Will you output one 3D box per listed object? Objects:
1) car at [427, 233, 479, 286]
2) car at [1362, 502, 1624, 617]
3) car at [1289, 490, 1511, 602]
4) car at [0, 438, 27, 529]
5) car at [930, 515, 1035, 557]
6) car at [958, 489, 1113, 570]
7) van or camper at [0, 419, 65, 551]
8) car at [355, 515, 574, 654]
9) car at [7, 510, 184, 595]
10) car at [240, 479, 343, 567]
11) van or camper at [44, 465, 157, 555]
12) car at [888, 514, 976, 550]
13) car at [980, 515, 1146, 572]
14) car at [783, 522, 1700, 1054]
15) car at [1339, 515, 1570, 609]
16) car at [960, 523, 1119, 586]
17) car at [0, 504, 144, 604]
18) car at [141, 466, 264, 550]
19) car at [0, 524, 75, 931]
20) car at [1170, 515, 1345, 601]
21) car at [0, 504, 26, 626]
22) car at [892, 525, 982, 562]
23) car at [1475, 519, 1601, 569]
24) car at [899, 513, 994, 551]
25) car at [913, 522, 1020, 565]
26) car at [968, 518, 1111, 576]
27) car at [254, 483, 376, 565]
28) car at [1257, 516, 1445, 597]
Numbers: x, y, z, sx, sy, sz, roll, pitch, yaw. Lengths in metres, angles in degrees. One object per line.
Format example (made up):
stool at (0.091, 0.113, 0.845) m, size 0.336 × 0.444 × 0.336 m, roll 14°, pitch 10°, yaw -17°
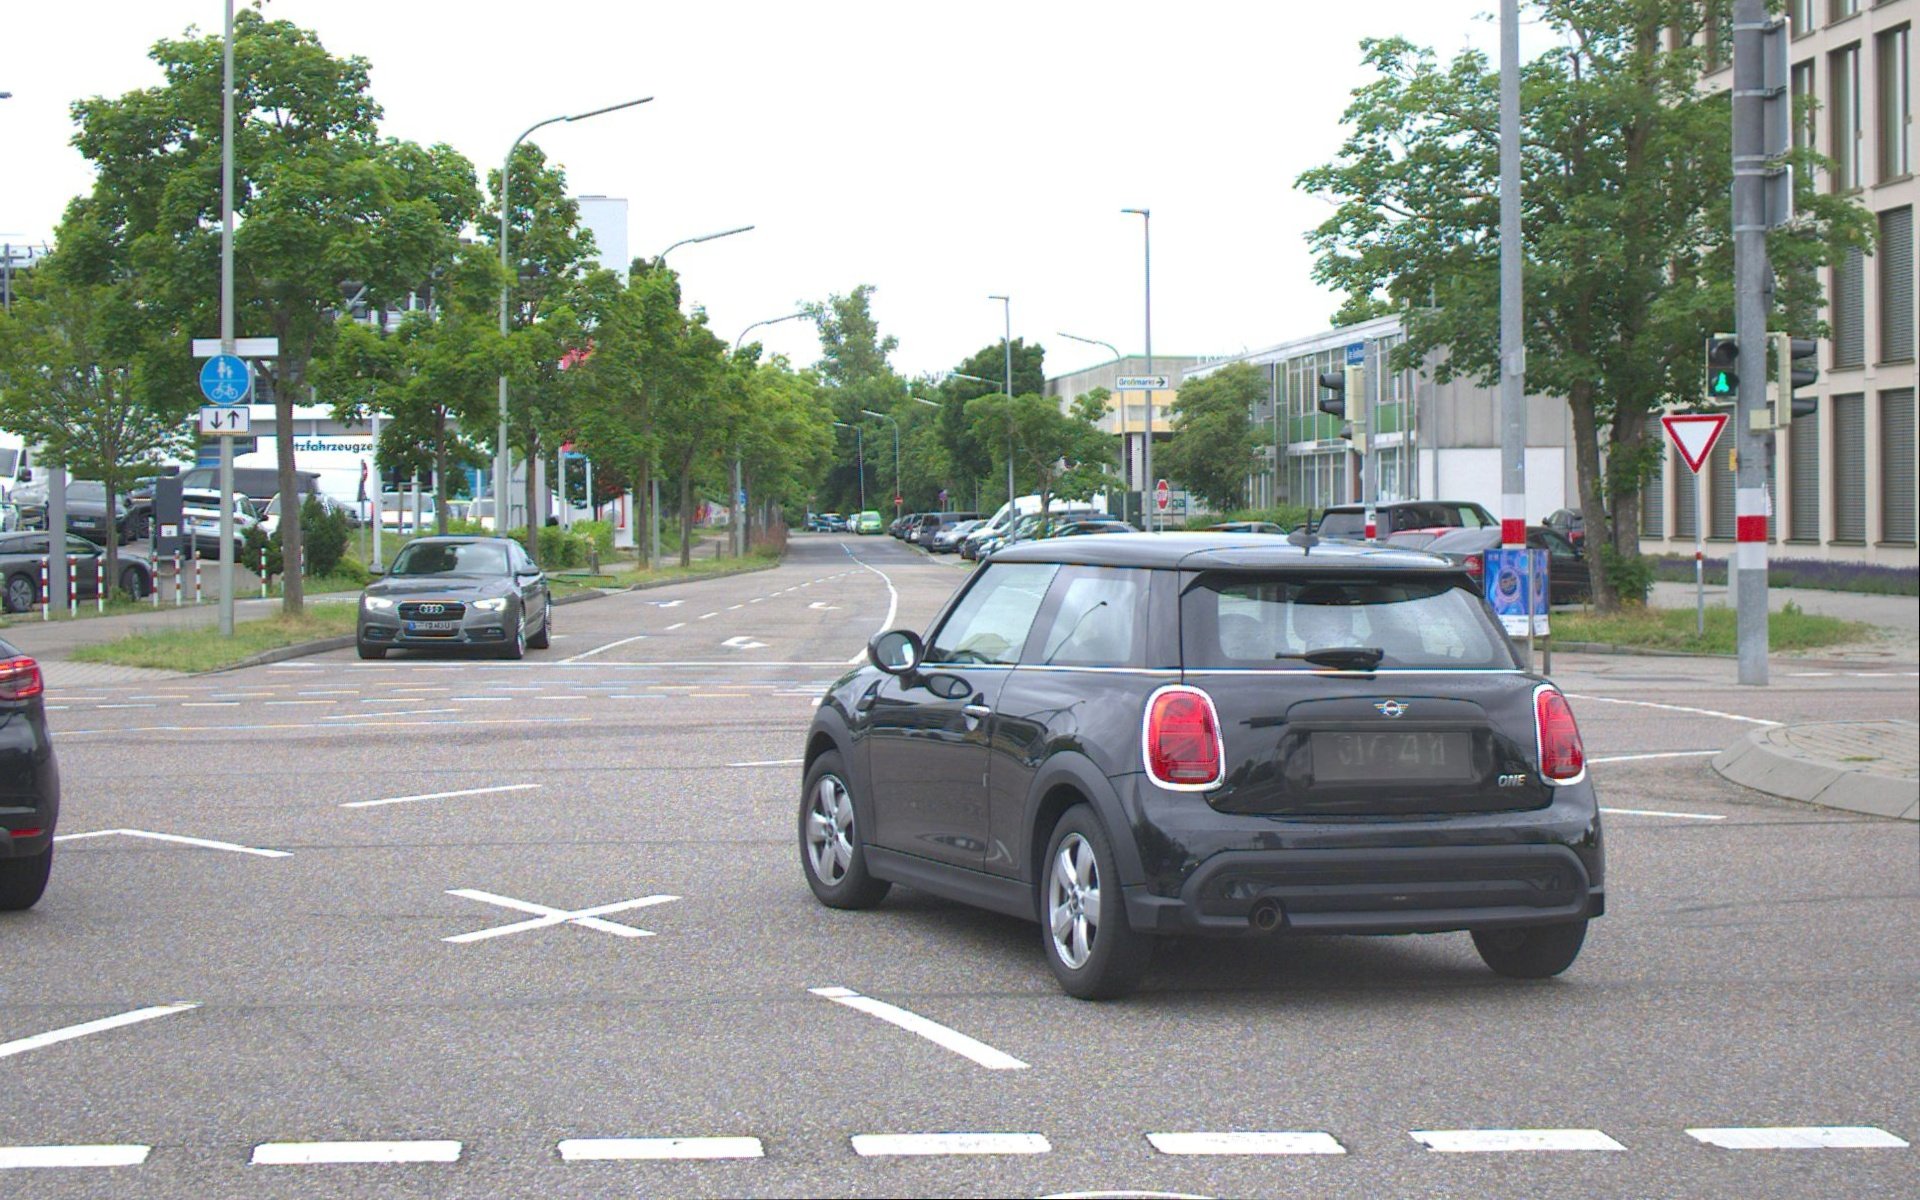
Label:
car at (-21.544, -14.474, 146.206) m, size 1.993 × 1.876 × 4.001 m, roll -1°, pitch 0°, yaw -6°
car at (8.481, -0.634, 54.562) m, size 4.122 × 1.762 × 1.888 m, roll -1°, pitch 1°, yaw -41°
car at (7.980, -0.959, 62.140) m, size 1.998 × 1.959 × 4.235 m, roll 0°, pitch 0°, yaw 40°
car at (-20.579, -2.408, 70.717) m, size 1.993 × 1.817 × 4.001 m, roll 1°, pitch 0°, yaw -5°
car at (1.060, -3.020, 163.343) m, size 4.785 × 1.885 × 2.144 m, roll 1°, pitch 0°, yaw -4°
car at (3.041, -2.843, 139.395) m, size 6.116 × 3.106 × 2.134 m, roll 1°, pitch 0°, yaw -3°
van or camper at (-23.057, -2.714, 81.915) m, size 2.535 × 3.016 × 4.844 m, roll 1°, pitch 0°, yaw -5°
car at (-5.784, -0.235, 40.638) m, size 1.978 × 1.546 × 4.614 m, roll 0°, pitch 1°, yaw -1°
car at (-21.640, -1.186, 86.172) m, size 3.986 × 2.007 × 2.000 m, roll 1°, pitch 0°, yaw -4°
car at (-16.010, -1.827, 82.447) m, size 1.993 × 2.007 × 4.001 m, roll 1°, pitch 0°, yaw -5°
van or camper at (-20.457, -2.116, 81.951) m, size 1.993 × 2.007 × 4.001 m, roll 1°, pitch 0°, yaw -5°
car at (-1.674, -4.066, 206.692) m, size 5.173 × 2.007 × 2.144 m, roll 1°, pitch 0°, yaw -3°
car at (3.317, -1.830, 111.543) m, size 5.173 × 1.714 × 2.144 m, roll 1°, pitch 0°, yaw -4°
car at (0.769, 0.507, 11.776) m, size 1.785 × 1.411 × 3.645 m, roll 1°, pitch 3°, yaw -19°
car at (8.504, -0.647, 58.952) m, size 1.887 × 1.546 × 4.123 m, roll 0°, pitch 1°, yaw 44°
car at (2.677, -1.543, 116.779) m, size 5.173 × 2.007 × 2.144 m, roll 1°, pitch 0°, yaw -4°
car at (-17.668, -0.884, 65.206) m, size 3.986 × 1.831 × 1.760 m, roll 1°, pitch 0°, yaw -4°
car at (-15.659, -1.880, 71.249) m, size 1.993 × 1.612 × 4.001 m, roll 1°, pitch 0°, yaw -5°
car at (-4.992, 0.403, 13.432) m, size 1.757 × 1.429 × 4.000 m, roll -1°, pitch 2°, yaw -34°
car at (6.224, -0.871, 71.821) m, size 3.424 × 1.726 × 1.765 m, roll 1°, pitch 0°, yaw -43°
car at (-18.286, -0.486, 57.365) m, size 4.892 × 2.007 × 2.000 m, roll -2°, pitch 1°, yaw -6°
car at (-1.369, -3.328, 202.886) m, size 5.173 × 2.007 × 2.144 m, roll 1°, pitch 0°, yaw -3°
car at (16.641, -1.607, 99.006) m, size 3.229 × 1.328 × 1.486 m, roll 1°, pitch 0°, yaw -20°
car at (-0.783, -3.791, 192.874) m, size 5.173 × 2.007 × 2.144 m, roll 1°, pitch 0°, yaw -3°
car at (0.304, -2.773, 169.934) m, size 5.173 × 2.007 × 2.144 m, roll 1°, pitch 0°, yaw -3°
car at (2.760, -1.839, 120.040) m, size 4.785 × 1.885 × 2.144 m, roll 1°, pitch 0°, yaw -4°
car at (-13.429, -1.567, 71.785) m, size 1.993 × 1.612 × 4.001 m, roll 1°, pitch 0°, yaw -4°
car at (7.474, -0.825, 65.534) m, size 1.696 × 1.506 × 3.808 m, roll 0°, pitch 1°, yaw 42°
